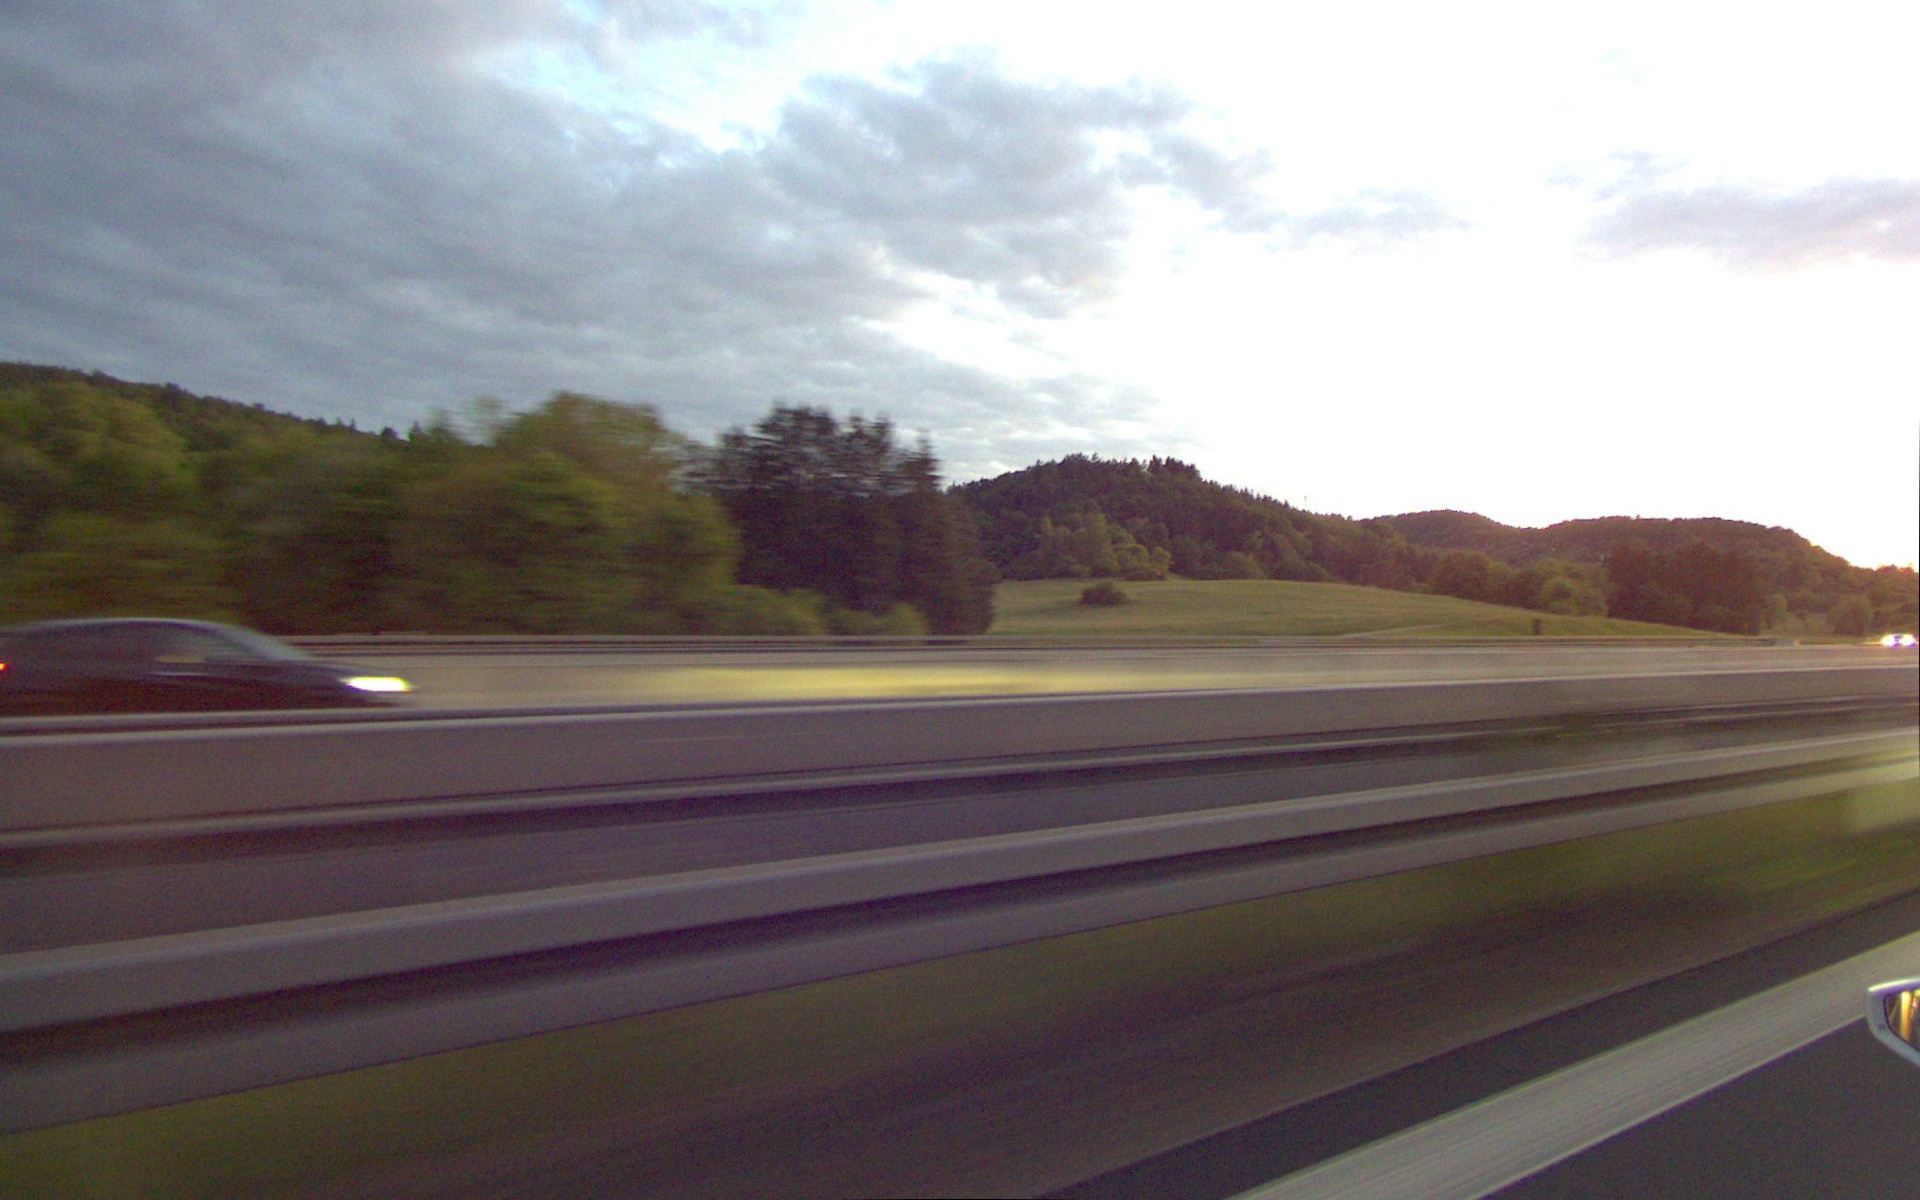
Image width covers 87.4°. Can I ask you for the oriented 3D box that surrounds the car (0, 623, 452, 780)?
[{"bbox_3d":[-8.592,1.108,11.936,4.466,1.582,1.863,2,-2,-30],"label":"car"}]

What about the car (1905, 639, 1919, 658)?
[{"bbox_3d":[103.991,5.258,108.447,4.685,2.040,1.981,2,-2,-35],"label":"car"}]
